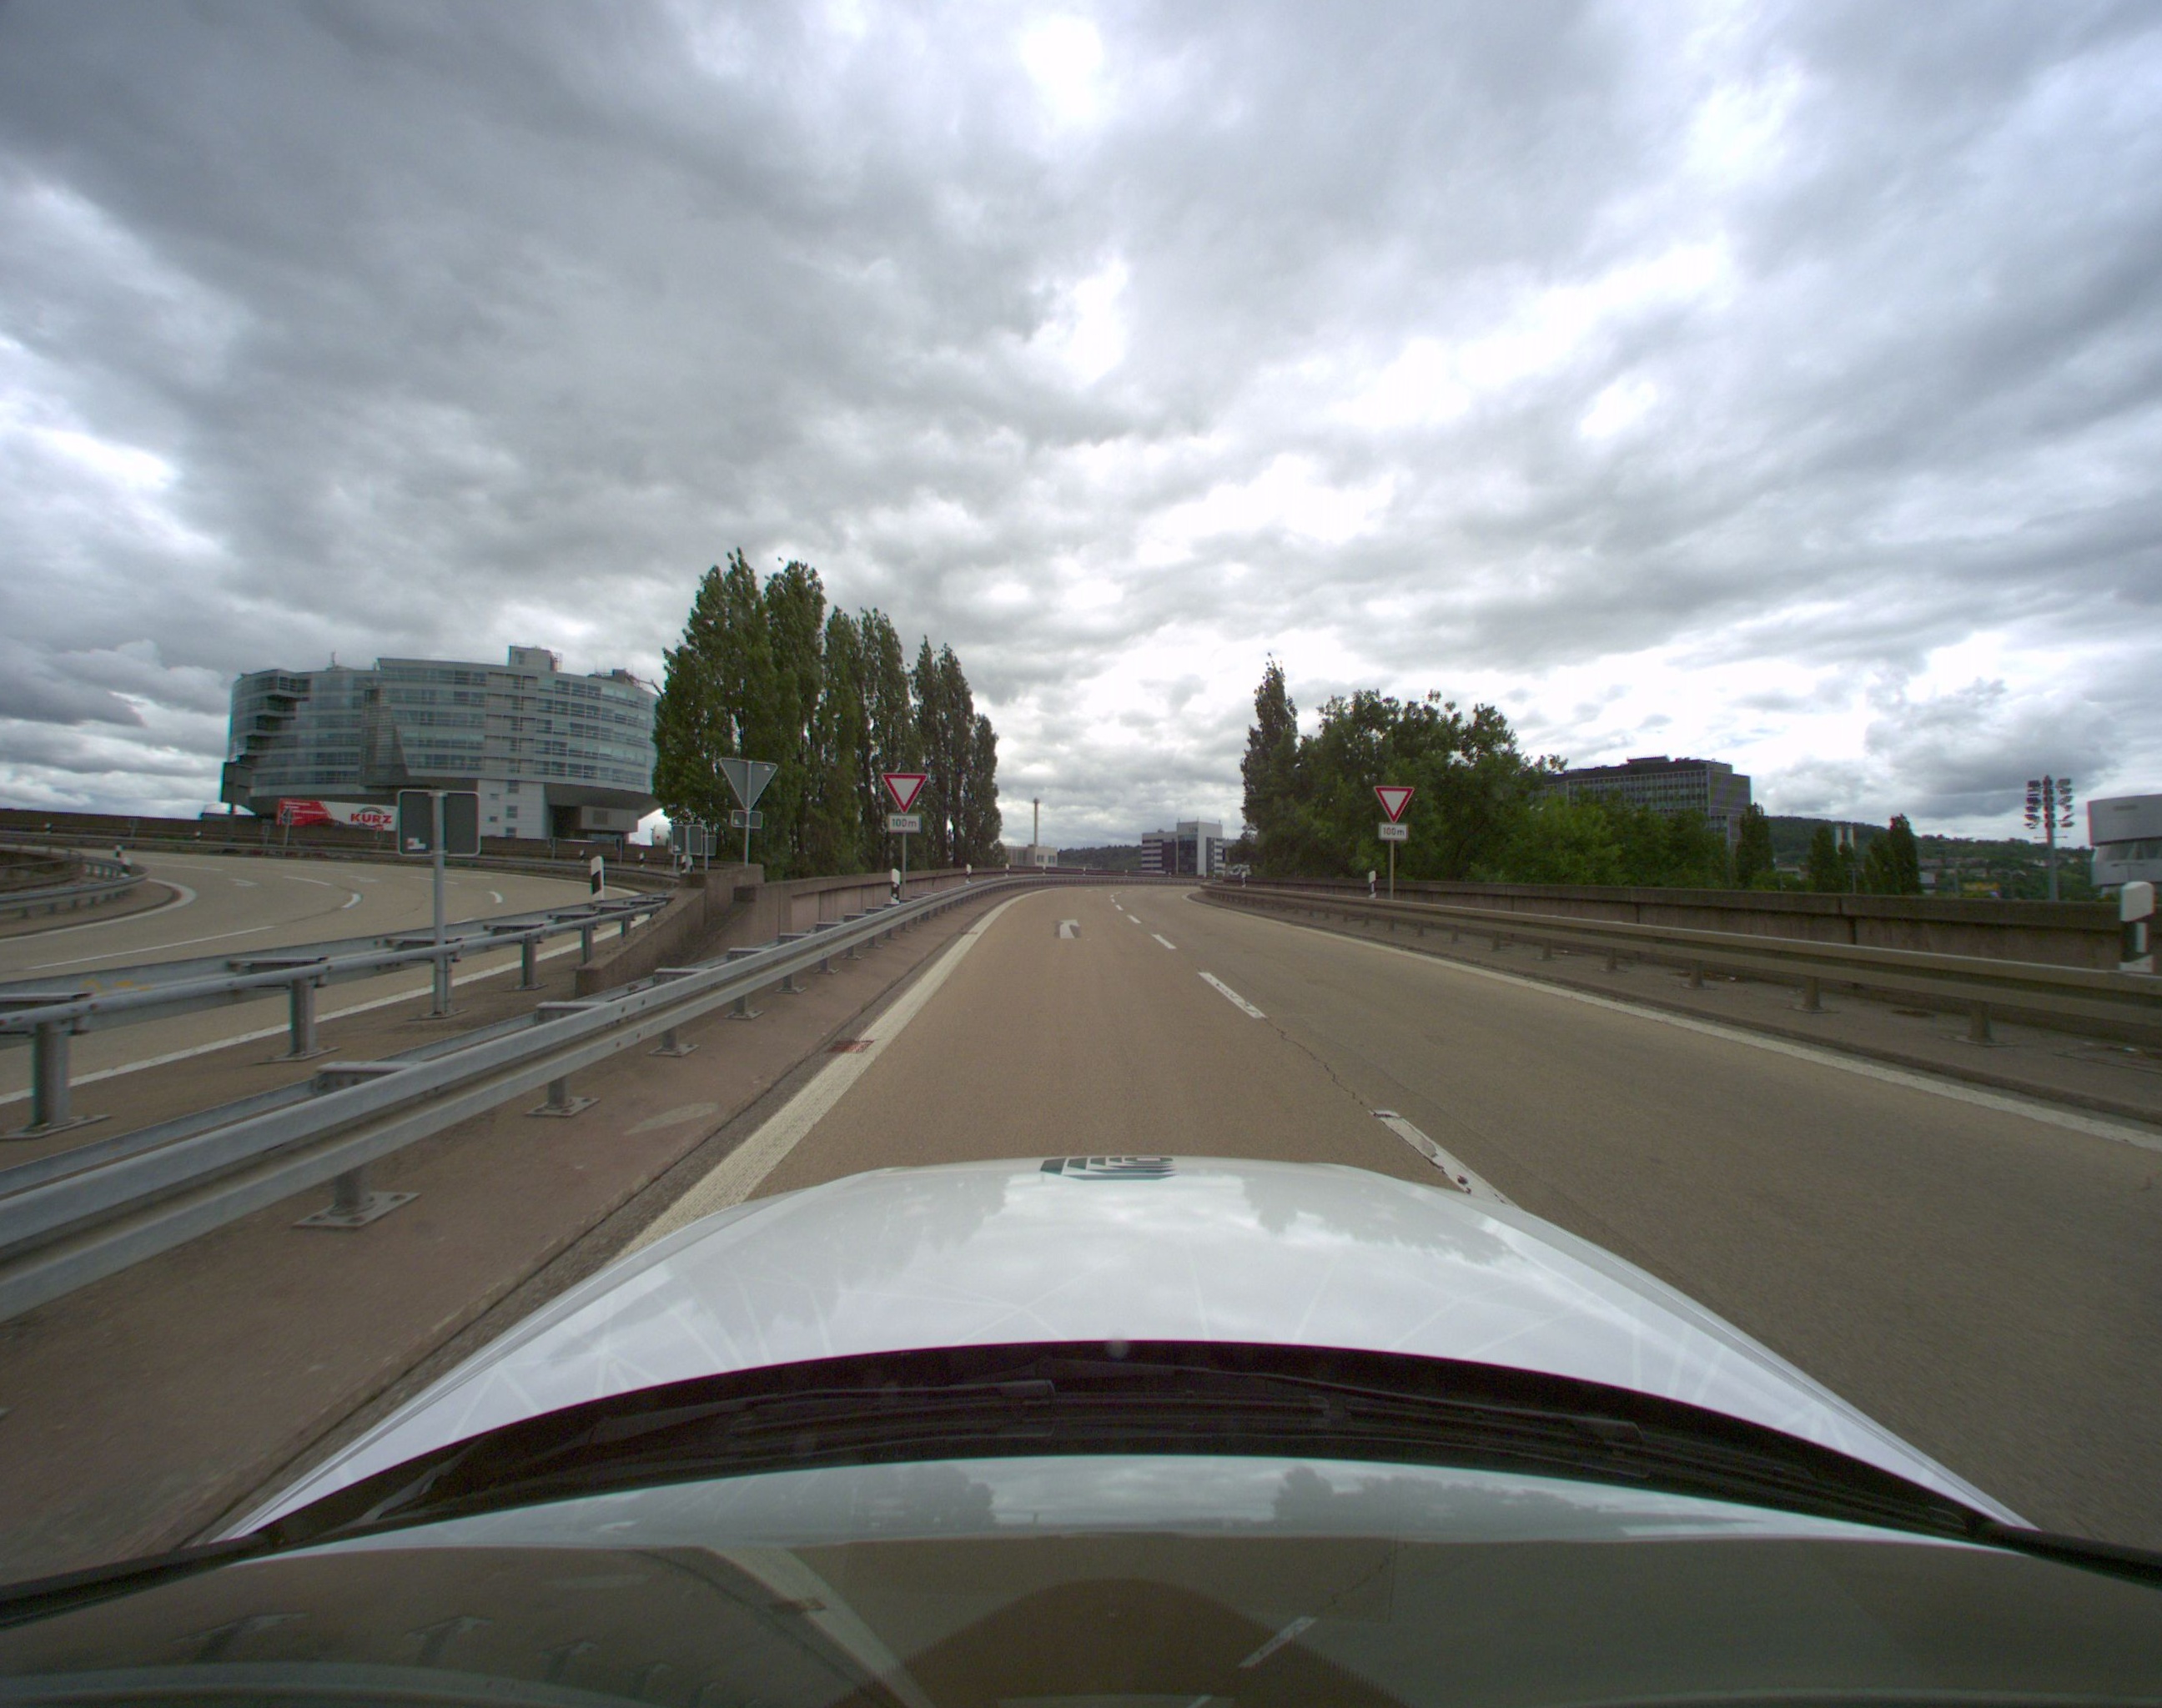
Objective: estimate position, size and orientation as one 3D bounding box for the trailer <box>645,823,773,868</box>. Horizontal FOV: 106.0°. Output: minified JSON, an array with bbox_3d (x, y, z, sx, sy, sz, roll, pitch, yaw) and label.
[{"bbox_3d":[-36.389,-0.739,79.960,11.182,3.738,2.775,3,-4,-29],"label":"trailer"}]

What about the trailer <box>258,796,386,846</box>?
[{"bbox_3d":[-64.507,-2.743,69.494,7.331,3.691,2.674,3,-4,-29],"label":"trailer"}]

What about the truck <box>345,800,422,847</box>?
[{"bbox_3d":[-61.035,-2.595,71.398,4.450,3.691,2.674,3,-4,-29],"label":"truck"}]
